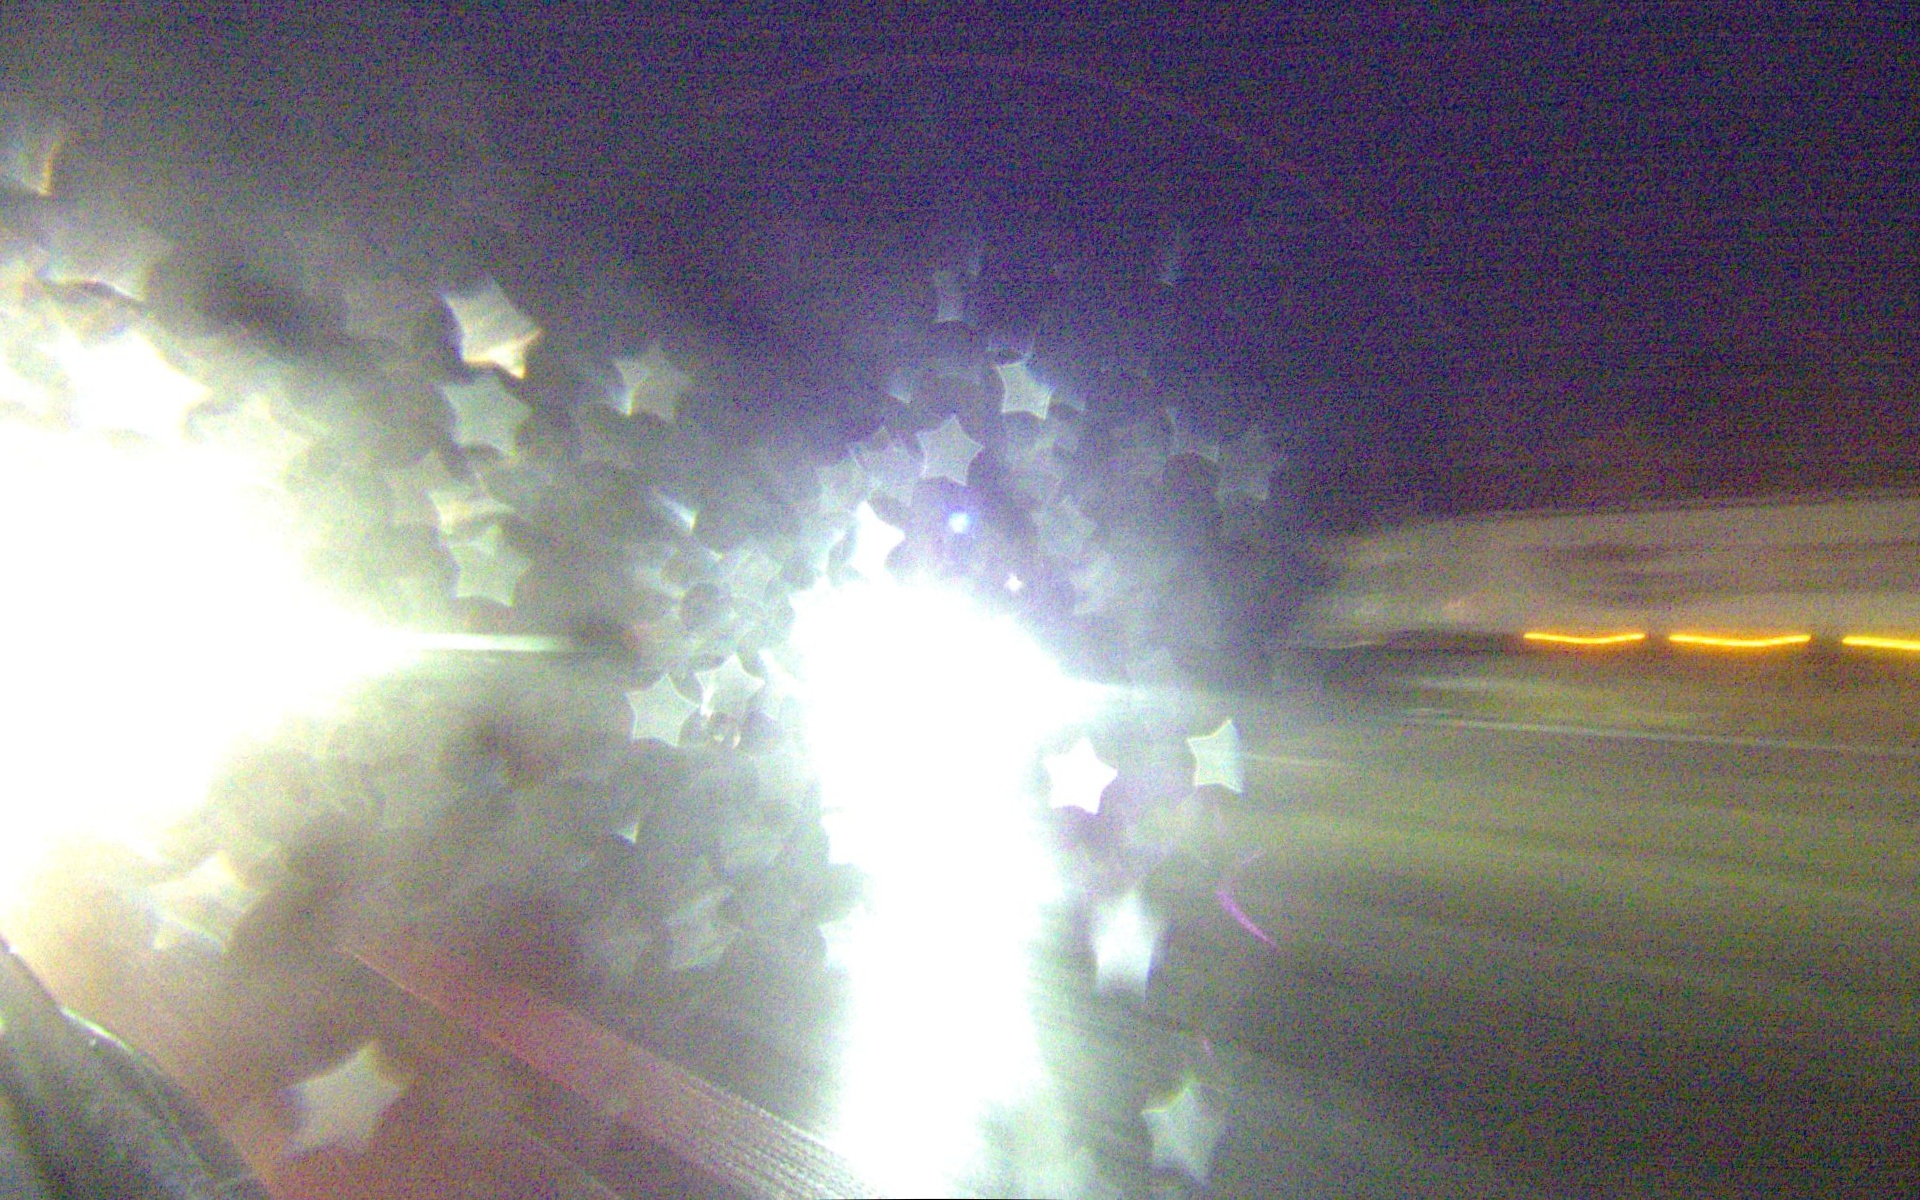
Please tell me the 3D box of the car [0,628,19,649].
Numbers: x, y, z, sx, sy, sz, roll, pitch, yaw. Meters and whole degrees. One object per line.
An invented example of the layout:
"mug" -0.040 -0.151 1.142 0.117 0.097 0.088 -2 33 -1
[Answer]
"car" -89.470 3.576 94.587 4.000 1.821 1.972 -1 0 43

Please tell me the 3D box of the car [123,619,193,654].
"car" -38.995 1.740 49.167 4.587 1.572 1.972 -1 0 42

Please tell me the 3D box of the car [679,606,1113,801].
"car" -0.750 0.820 9.820 3.999 1.452 1.972 -1 0 42

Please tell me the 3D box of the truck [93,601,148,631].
"truck" -116.258 2.160 140.056 17.177 3.917 3.462 -1 0 42

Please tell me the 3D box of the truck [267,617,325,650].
"truck" -50.051 2.468 76.189 6.436 2.365 1.973 -1 0 41

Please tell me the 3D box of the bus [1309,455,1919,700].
"bus" 16.477 -0.398 21.846 17.006 4.524 3.042 -1 0 42
